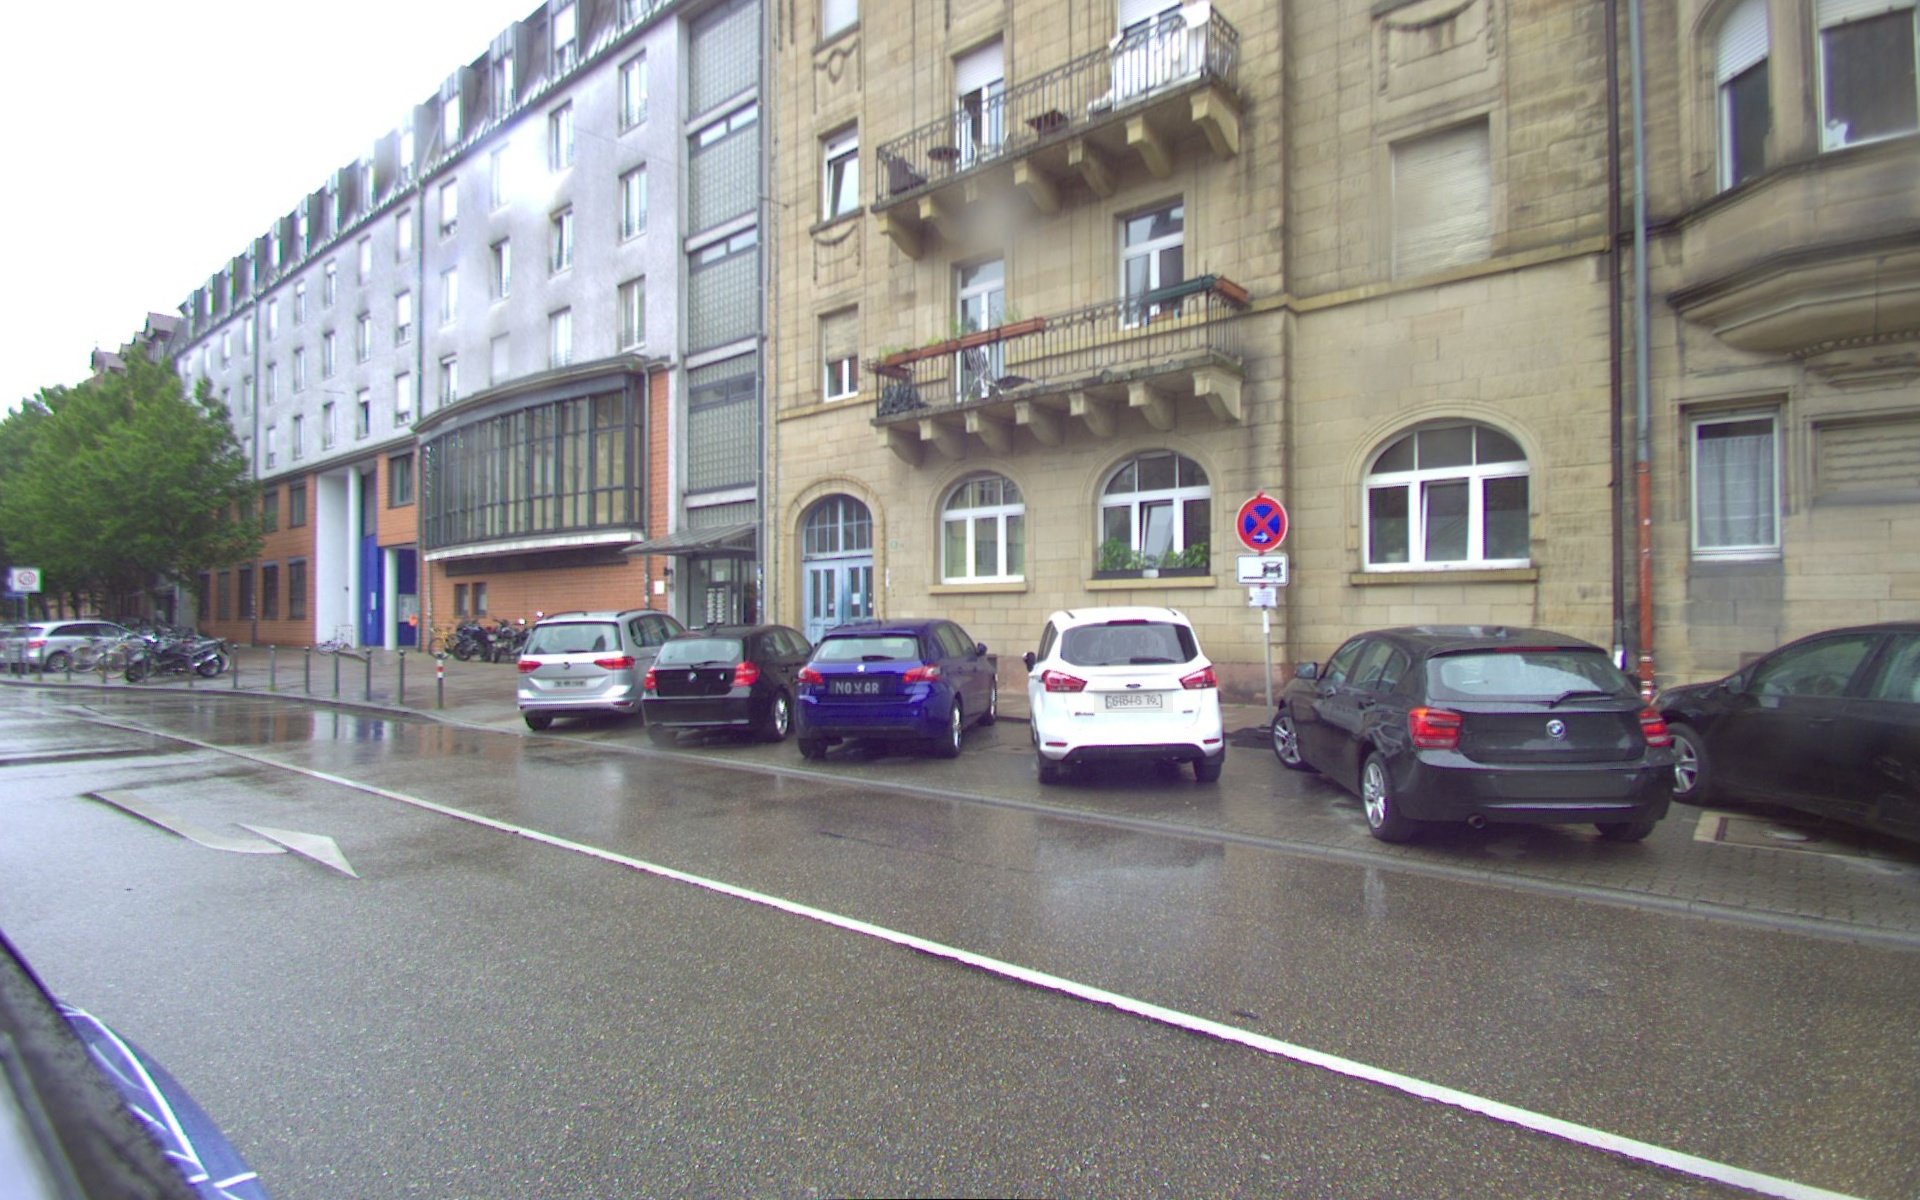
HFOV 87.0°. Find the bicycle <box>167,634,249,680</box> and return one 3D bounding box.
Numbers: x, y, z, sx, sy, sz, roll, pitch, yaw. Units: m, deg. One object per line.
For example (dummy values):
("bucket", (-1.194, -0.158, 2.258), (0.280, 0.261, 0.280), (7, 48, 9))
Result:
("bicycle", (-20.116, 1.508, 27.105), (0.544, 1.081, 1.667), (-1, 1, 38))

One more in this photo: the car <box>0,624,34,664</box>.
("car", (-43.374, 1.926, 44.272), (1.993, 1.728, 3.762), (-1, -2, 30))

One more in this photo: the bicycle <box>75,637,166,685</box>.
("bicycle", (-21.308, 1.525, 25.712), (0.544, 1.081, 1.667), (-1, 1, 38))

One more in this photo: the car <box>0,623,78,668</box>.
("car", (-37.537, 1.796, 39.867), (1.993, 1.728, 3.762), (-1, -2, 30))

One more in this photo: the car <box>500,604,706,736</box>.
("car", (-5.241, 1.000, 15.432), (1.791, 1.743, 3.923), (0, -2, -1))

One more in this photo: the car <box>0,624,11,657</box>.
("car", (-52.067, 2.078, 52.479), (1.899, 1.728, 3.762), (-1, -2, 30))

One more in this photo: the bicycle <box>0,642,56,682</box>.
("bicycle", (-25.863, 1.688, 27.615), (0.544, 1.081, 1.667), (-1, -4, 38))

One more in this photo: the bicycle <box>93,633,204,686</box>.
("bicycle", (-20.324, 1.465, 25.389), (0.772, 1.181, 2.024), (-1, 1, 38))

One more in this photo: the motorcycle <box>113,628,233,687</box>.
("motorcycle", (-19.394, 1.397, 24.991), (0.758, 1.320, 2.226), (-1, 0, 41))

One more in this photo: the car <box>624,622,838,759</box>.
("car", (-2.863, 1.093, 13.470), (1.697, 1.539, 3.721), (0, -2, 6))

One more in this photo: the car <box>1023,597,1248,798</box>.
("car", (1.568, 0.816, 10.283), (1.755, 1.639, 3.724), (-2, 0, 3))

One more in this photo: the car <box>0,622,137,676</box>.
("car", (-30.755, 1.630, 34.481), (1.993, 1.728, 3.762), (-1, -2, 30))

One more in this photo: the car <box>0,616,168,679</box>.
("car", (-27.279, 1.441, 31.297), (1.981, 1.828, 3.981), (0, -2, 14))

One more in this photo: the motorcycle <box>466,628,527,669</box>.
("motorcycle", (-12.763, 1.316, 27.830), (2.361, 1.110, 0.591), (-1, -3, 41))

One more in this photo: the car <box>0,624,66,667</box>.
("car", (-40.051, 1.883, 42.183), (1.993, 1.728, 3.762), (-1, -2, 30))

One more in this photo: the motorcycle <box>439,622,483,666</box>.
("motorcycle", (-14.442, 1.270, 29.273), (1.676, 1.238, 0.539), (-1, -3, 41))

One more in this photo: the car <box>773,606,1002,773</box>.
("car", (-0.672, 0.895, 11.989), (1.881, 1.539, 3.716), (0, 1, 10))

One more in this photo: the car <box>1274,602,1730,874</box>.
("car", (3.747, 0.831, 7.814), (1.757, 1.555, 3.721), (-2, 0, 6))

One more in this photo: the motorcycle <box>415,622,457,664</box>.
("motorcycle", (-15.763, 1.287, 30.445), (1.676, 1.238, 0.539), (-1, -3, 41))

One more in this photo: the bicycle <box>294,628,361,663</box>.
("bicycle", (-22.530, 1.612, 36.094), (1.873, 1.234, 0.939), (1, -2, -23))

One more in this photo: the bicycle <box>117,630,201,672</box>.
("bicycle", (-21.287, 1.340, 26.921), (0.544, 1.081, 1.667), (-1, -3, 38))

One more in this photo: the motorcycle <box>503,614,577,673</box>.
("motorcycle", (-10.827, 1.106, 26.060), (2.361, 1.474, 0.767), (-1, -3, 41))

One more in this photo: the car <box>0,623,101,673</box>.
("car", (-33.407, 1.699, 36.104), (1.993, 1.728, 3.762), (-1, -2, 30))

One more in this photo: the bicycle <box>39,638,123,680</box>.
("bicycle", (-24.298, 1.617, 27.998), (0.544, 1.081, 1.667), (-1, -2, 38))

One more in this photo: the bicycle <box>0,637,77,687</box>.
("bicycle", (-23.449, 1.552, 25.519), (0.544, 1.081, 1.668), (-1, 3, 38))

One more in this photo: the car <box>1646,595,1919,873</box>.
("car", (6.282, 0.763, 6.176), (1.606, 1.555, 3.758), (-2, 0, 1))
